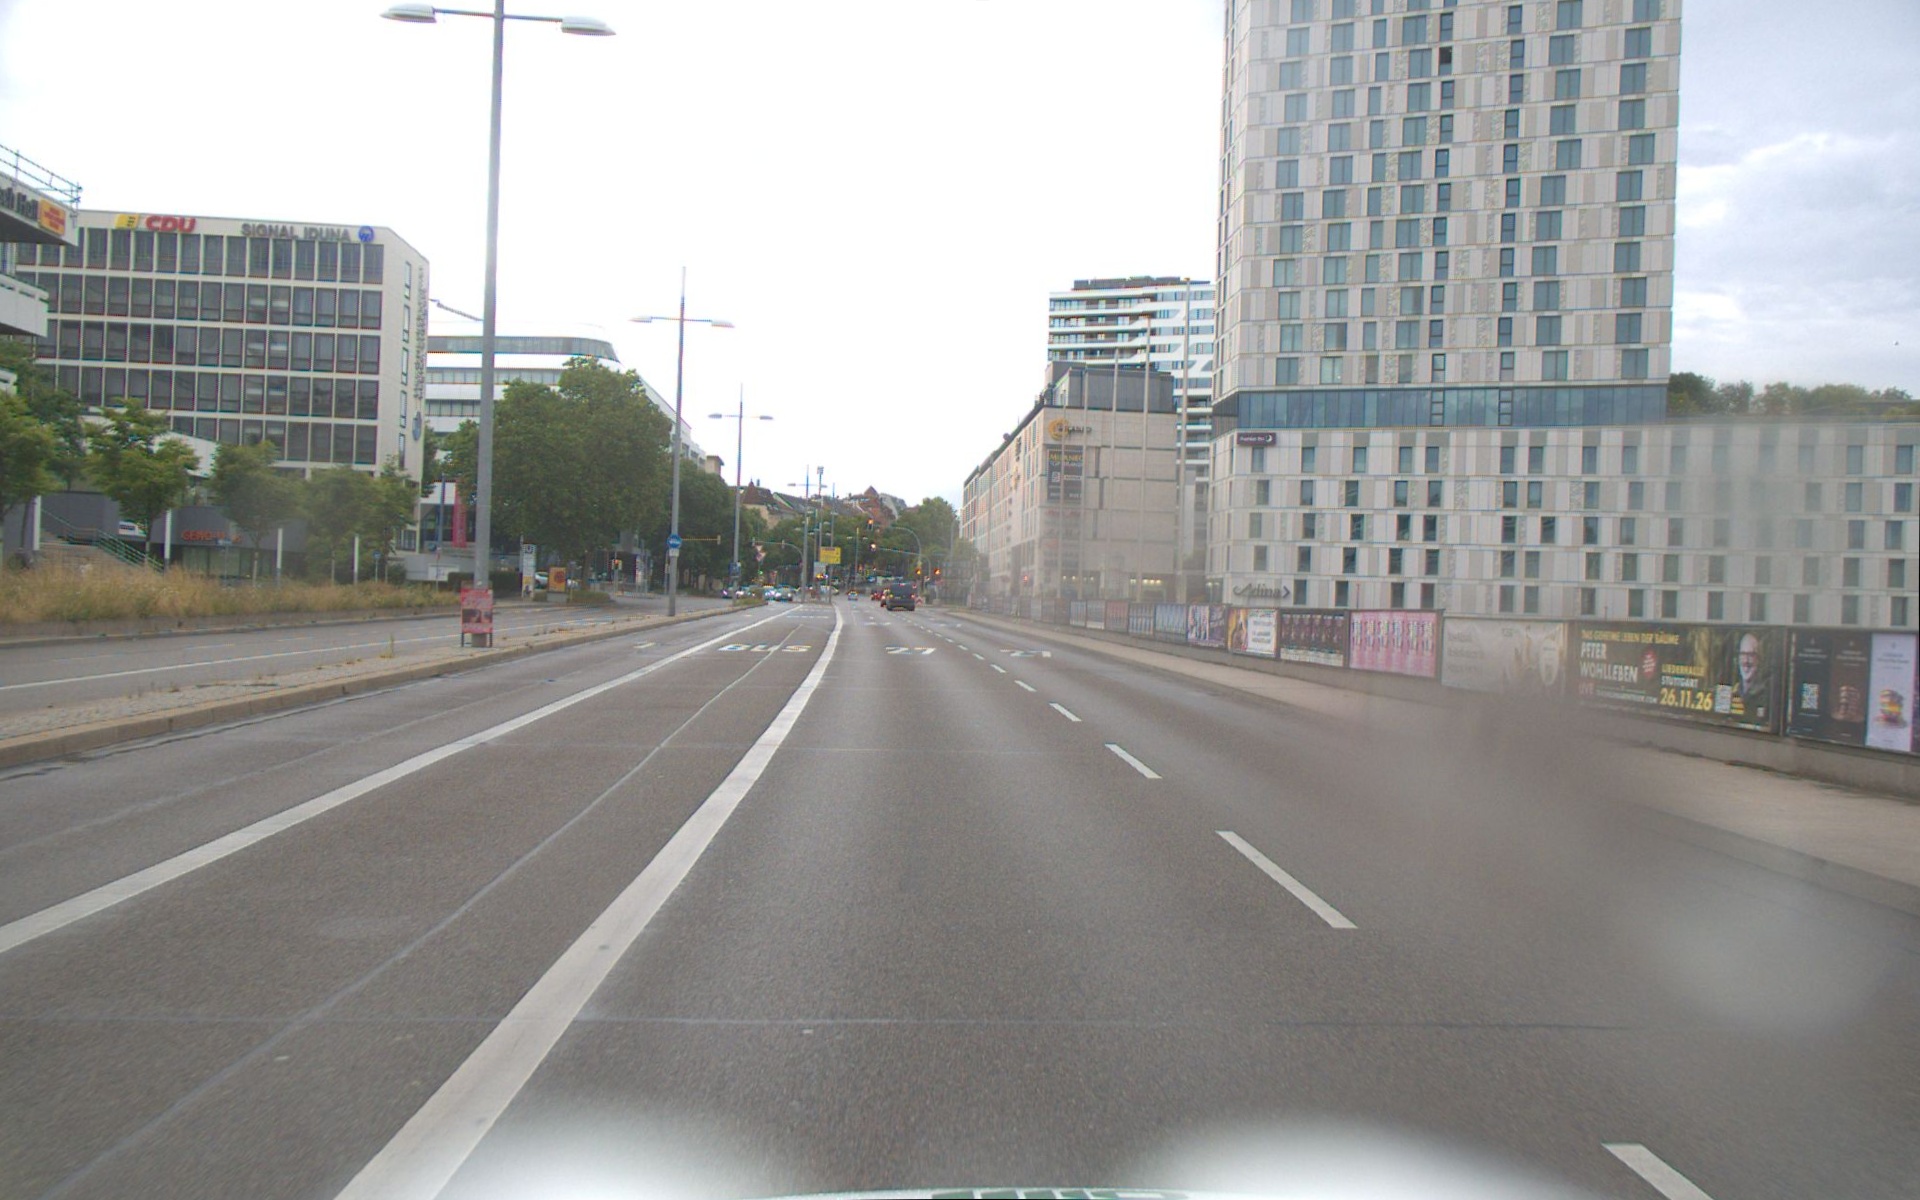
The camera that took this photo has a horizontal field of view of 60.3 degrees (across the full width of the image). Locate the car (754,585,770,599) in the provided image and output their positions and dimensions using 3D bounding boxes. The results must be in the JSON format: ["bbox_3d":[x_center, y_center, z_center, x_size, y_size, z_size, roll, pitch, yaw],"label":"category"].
[{"bbox_3d":[-23.863,-0.915,199.364,1.709,1.586,3.536,1,-1,-4],"label":"car"}]

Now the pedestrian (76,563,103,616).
[{"bbox_3d":[-30.596,-0.353,58.132,0.617,1.839,0.628,1,-1,-4],"label":"pedestrian"}]

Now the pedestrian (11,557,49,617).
[{"bbox_3d":[-28.806,-0.409,51.239,0.768,1.839,0.628,1,-1,-4],"label":"pedestrian"}]

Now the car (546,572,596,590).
[{"bbox_3d":[-38.263,-1.879,162.805,4.405,1.660,1.896,1,-1,12],"label":"car"}]

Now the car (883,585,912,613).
[{"bbox_3d":[-4.626,-0.122,121.643,1.993,1.915,5.038,-1,1,-4],"label":"car"}]

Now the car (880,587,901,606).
[{"bbox_3d":[-6.172,-0.303,146.633,1.705,1.558,3.810,1,-1,-4],"label":"car"}]

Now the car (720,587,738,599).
[{"bbox_3d":[-26.772,-0.834,191.775,1.709,1.352,4.222,1,-1,-4],"label":"car"}]

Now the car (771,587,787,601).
[{"bbox_3d":[-20.885,-0.710,191.166,1.709,1.470,3.392,1,-1,-4],"label":"car"}]
